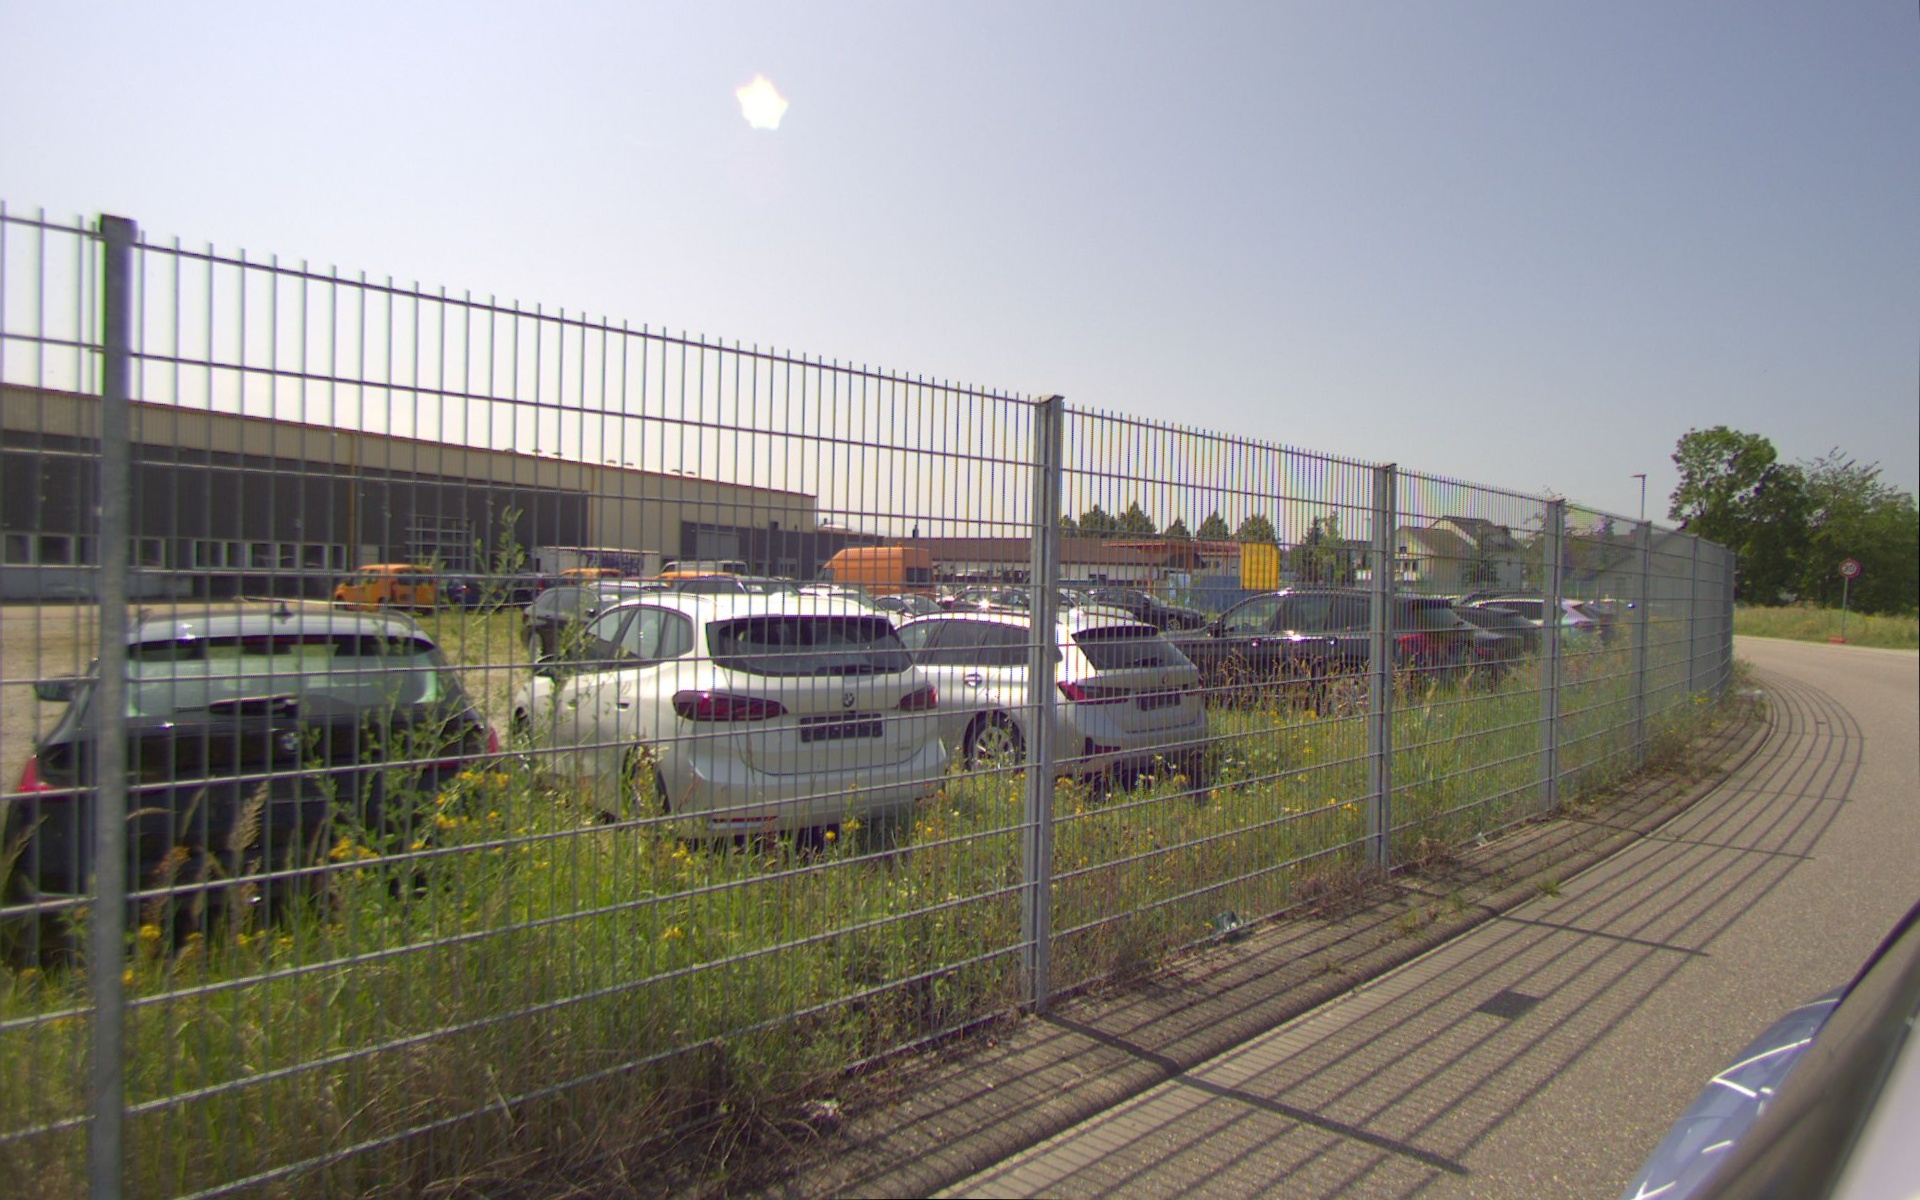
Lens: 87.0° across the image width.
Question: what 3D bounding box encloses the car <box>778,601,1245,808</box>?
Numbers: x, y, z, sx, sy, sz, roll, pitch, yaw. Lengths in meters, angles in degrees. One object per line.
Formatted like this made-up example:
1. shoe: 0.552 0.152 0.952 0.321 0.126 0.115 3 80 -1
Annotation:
1. car: 0.243 0.769 9.223 1.807 1.424 4.215 0 -1 -42

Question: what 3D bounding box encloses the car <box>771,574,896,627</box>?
1. car: -3.986 -0.001 31.767 3.805 1.480 1.569 3 1 35

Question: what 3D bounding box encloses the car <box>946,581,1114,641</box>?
1. car: 1.923 0.269 28.703 4.546 1.450 1.642 3 1 35

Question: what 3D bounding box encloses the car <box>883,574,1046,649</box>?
1. car: 0.081 0.234 26.920 3.976 1.738 1.975 2 3 36

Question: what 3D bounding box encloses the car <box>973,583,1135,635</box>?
1. car: 2.882 0.239 31.407 4.729 1.368 1.798 3 1 35

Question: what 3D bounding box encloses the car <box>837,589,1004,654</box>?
1. car: -0.971 0.459 24.034 3.749 1.318 1.591 3 1 35

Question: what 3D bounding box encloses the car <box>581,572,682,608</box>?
1. car: -14.045 -0.434 43.138 4.362 1.395 1.819 3 1 35

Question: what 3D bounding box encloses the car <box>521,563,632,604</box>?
1. car: -15.519 -0.671 40.929 4.357 1.504 1.951 3 1 32

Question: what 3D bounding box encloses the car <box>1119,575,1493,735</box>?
1. car: 4.333 0.575 13.204 1.735 1.657 4.286 1 1 -43

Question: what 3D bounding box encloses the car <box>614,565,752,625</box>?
1. car: -7.618 -0.167 27.717 3.805 1.480 1.569 3 1 35

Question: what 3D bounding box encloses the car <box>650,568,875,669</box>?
1. car: -3.923 0.284 19.701 4.455 1.669 1.851 3 1 39

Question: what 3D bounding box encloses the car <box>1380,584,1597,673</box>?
1. car: 11.714 0.568 22.511 4.106 1.690 1.703 3 1 33

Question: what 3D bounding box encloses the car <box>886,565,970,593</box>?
1. car: -1.751 -1.141 55.210 4.362 1.395 1.819 3 1 35

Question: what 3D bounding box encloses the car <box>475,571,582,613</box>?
1. car: -16.682 -0.341 39.124 3.972 1.482 1.976 2 1 34

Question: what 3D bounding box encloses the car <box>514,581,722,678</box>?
1. car: -6.135 0.465 18.040 3.749 1.455 1.591 3 1 35

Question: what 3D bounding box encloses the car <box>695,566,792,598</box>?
1. car: -10.226 -0.862 47.666 4.357 1.339 1.951 3 1 32

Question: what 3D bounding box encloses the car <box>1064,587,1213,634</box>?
1. car: 6.092 0.340 34.852 4.729 1.368 1.798 3 1 35

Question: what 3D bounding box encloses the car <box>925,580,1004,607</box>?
1. car: 0.238 -0.404 59.600 4.362 1.395 1.819 3 1 35

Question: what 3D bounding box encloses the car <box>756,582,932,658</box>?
1. car: -2.614 0.393 22.439 3.749 1.455 1.591 3 1 35

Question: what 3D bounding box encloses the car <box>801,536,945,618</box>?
1. car: -3.018 -0.812 34.602 4.716 2.617 1.956 3 1 35

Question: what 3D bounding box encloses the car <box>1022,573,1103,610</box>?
1. car: 5.984 -0.494 59.235 4.362 2.006 1.819 3 1 35

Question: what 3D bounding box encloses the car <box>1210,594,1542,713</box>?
1. car: 6.109 0.696 15.260 1.735 1.395 4.285 1 1 -43

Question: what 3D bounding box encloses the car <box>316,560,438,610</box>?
1. car: -19.572 -0.511 33.937 4.357 1.504 1.733 3 1 32

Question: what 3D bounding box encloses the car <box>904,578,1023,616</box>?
1. car: 0.113 -0.137 39.247 4.362 1.285 1.798 3 1 35

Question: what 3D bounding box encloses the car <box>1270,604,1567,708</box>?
1. car: 7.770 0.856 17.396 4.336 1.395 1.739 3 1 41

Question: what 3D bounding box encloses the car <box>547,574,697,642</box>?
1. car: -8.475 0.164 25.264 3.805 1.480 1.569 3 1 35

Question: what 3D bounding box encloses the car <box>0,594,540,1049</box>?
1. car: -3.701 0.739 5.351 1.804 1.424 4.222 -1 -1 -36

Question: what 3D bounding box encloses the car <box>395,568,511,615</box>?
1. car: -18.268 -0.318 36.419 4.357 1.504 1.733 3 1 32

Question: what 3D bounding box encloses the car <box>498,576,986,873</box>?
1. car: -1.819 0.631 7.120 1.804 1.424 4.222 -1 -1 -36

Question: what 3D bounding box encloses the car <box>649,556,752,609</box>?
1. car: -11.607 -0.791 45.164 4.357 2.199 1.951 3 1 32
